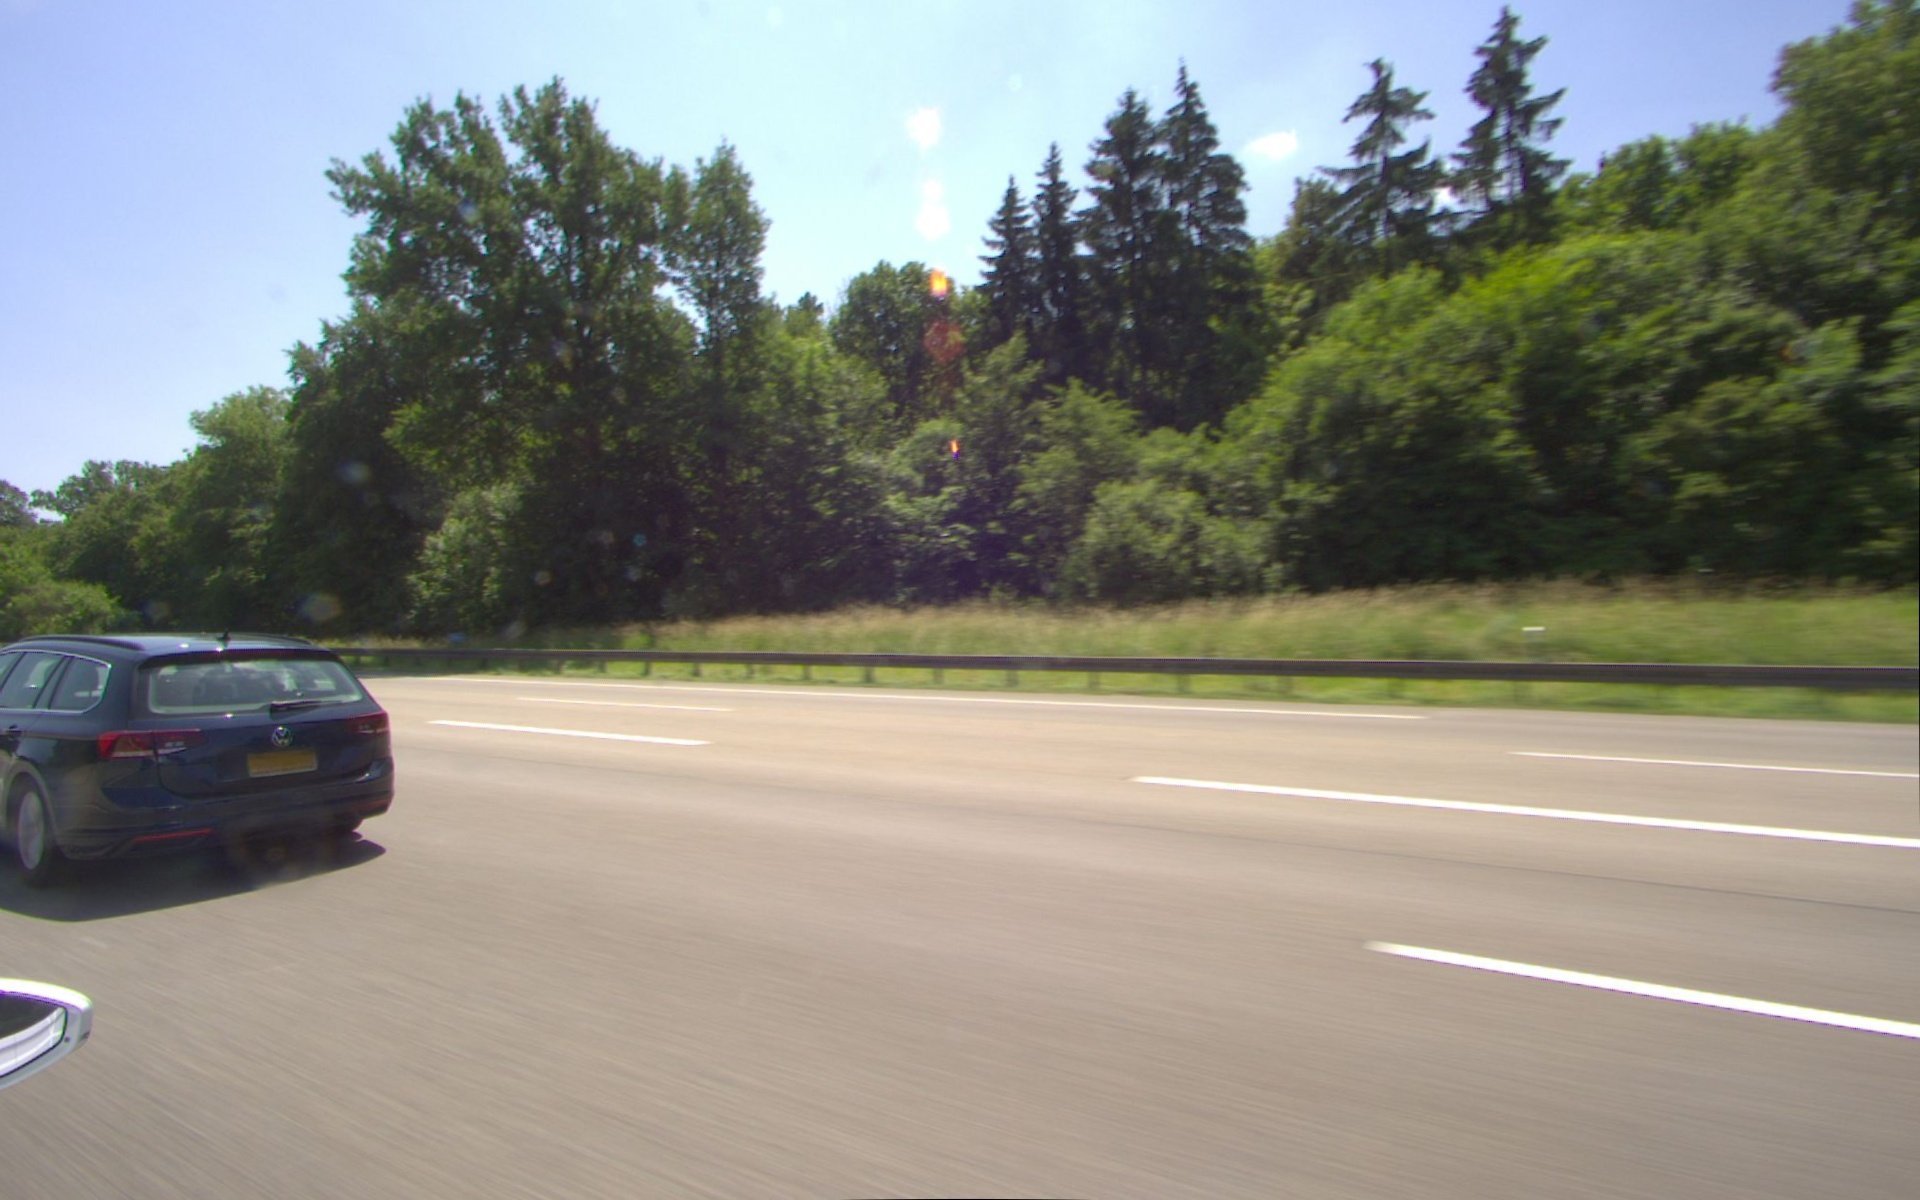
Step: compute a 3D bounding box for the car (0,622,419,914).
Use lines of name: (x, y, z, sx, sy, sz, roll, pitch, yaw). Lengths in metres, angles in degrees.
car: (-6.050, 0.902, 7.156, 4.891, 1.466, 1.726, -1, 0, 33)
